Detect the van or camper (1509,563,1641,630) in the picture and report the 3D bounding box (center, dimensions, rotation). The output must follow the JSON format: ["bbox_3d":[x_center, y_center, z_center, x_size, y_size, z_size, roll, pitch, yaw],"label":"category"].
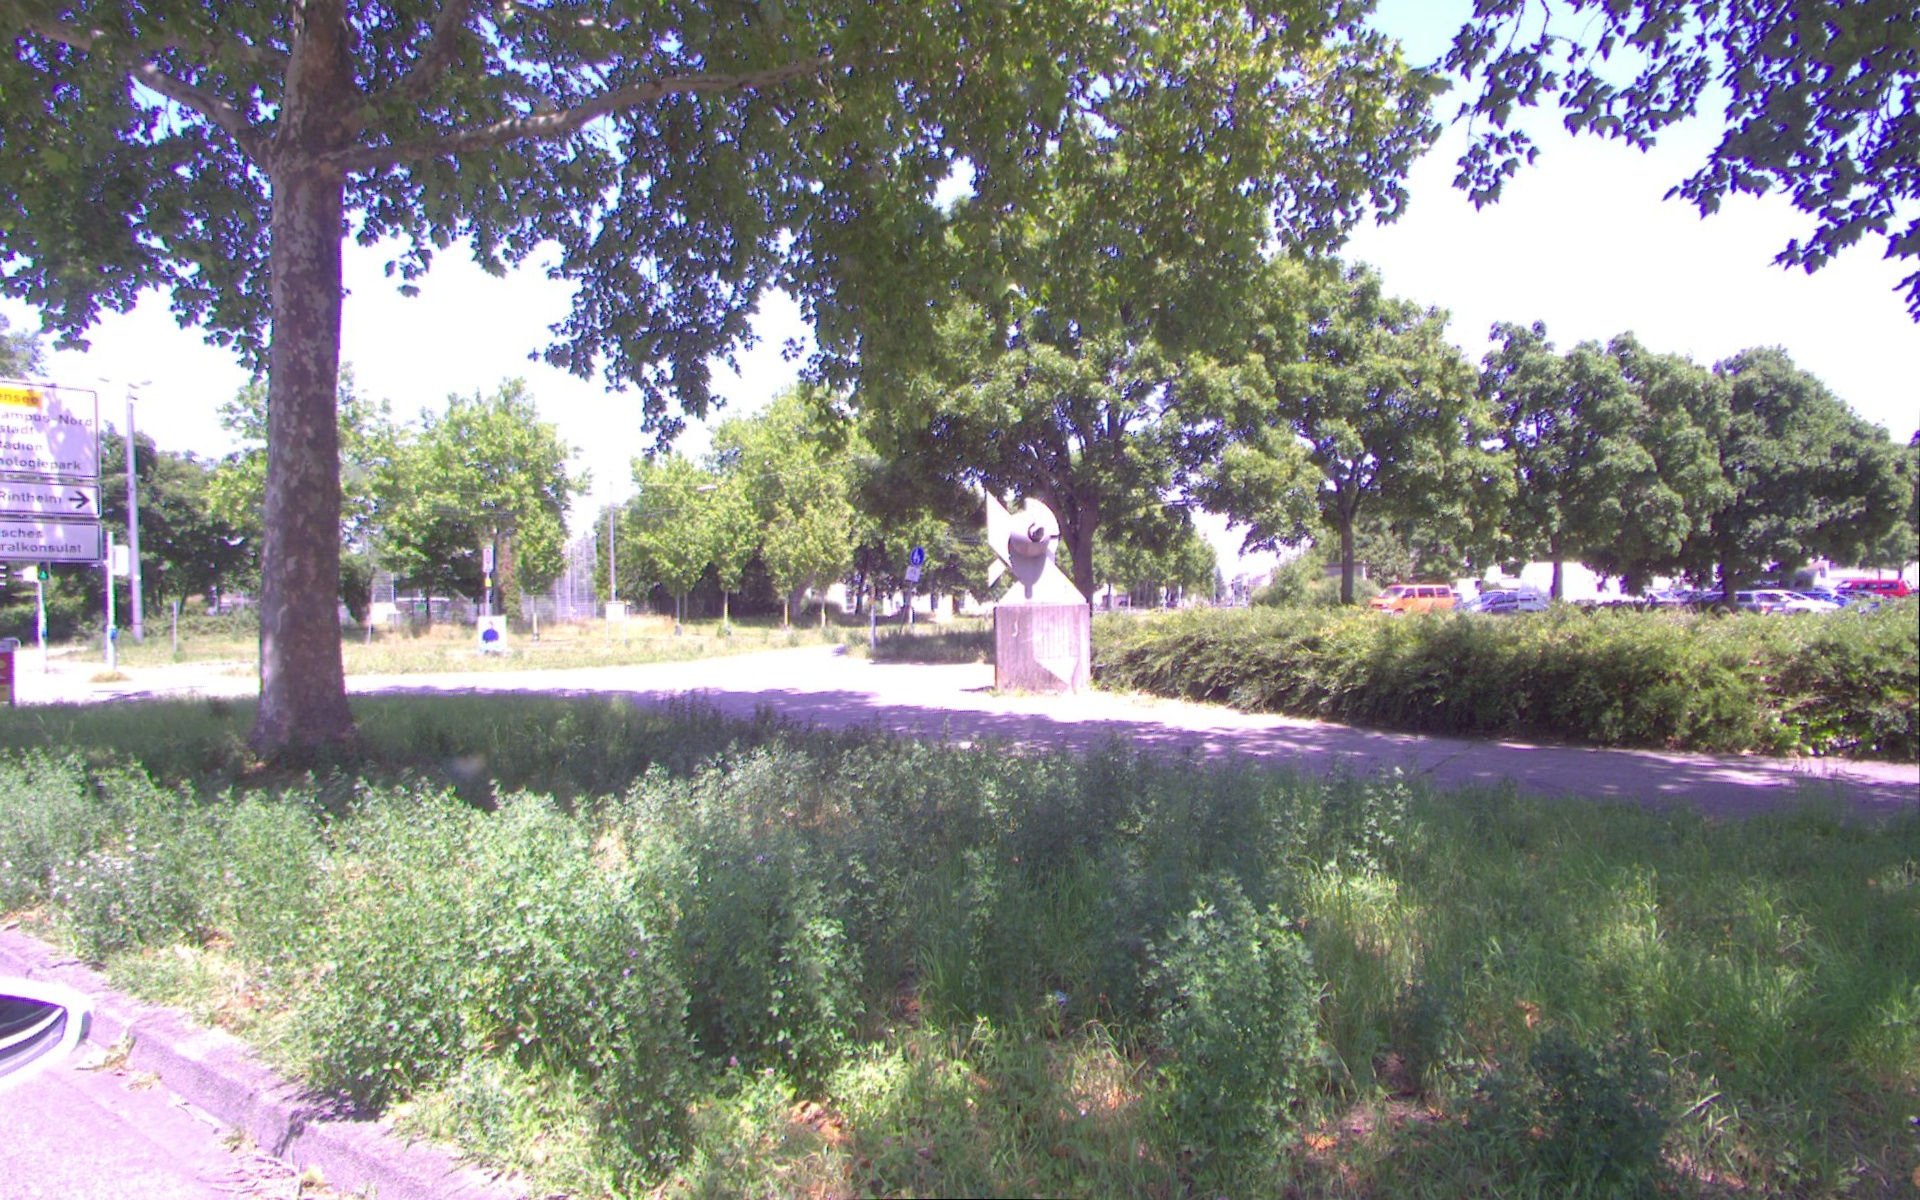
[{"bbox_3d":[27.010,-0.163,43.989,5.039,2.787,2.199,-1,0,-18],"label":"van or camper"}]

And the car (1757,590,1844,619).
[{"bbox_3d":[34.349,0.174,40.973,0.991,1.141,2.590,-1,0,-25],"label":"car"}]

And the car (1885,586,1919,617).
[{"bbox_3d":[44.443,0.058,45.306,1.690,1.384,3.414,-1,0,-25],"label":"car"}]

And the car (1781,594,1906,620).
[{"bbox_3d":[36.722,0.294,41.702,1.655,1.048,3.553,-1,0,-25],"label":"car"}]

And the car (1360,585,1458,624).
[{"bbox_3d":[23.849,0.226,53.230,4.582,2.029,2.069,0,0,-19],"label":"car"}]

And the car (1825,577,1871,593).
[{"bbox_3d":[92.714,-1.551,104.609,3.309,1.639,1.439,-1,0,18],"label":"car"}]

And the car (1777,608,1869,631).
[{"bbox_3d":[33.490,0.761,38.907,0.938,0.852,2.590,-1,0,-25],"label":"car"}]

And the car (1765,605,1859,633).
[{"bbox_3d":[32.464,0.710,38.200,0.938,1.000,2.590,-1,0,-25],"label":"car"}]

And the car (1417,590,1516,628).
[{"bbox_3d":[23.935,0.410,47.321,4.000,1.741,1.952,-1,0,-18],"label":"car"}]

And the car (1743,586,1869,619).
[{"bbox_3d":[34.390,0.084,40.796,1.595,1.242,3.559,0,1,-25],"label":"car"}]

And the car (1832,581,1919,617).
[{"bbox_3d":[57.229,-0.027,62.361,1.935,2.039,3.989,1,-3,-23],"label":"car"}]

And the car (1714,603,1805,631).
[{"bbox_3d":[30.742,0.646,38.549,0.938,1.050,2.590,-1,0,-25],"label":"car"}]

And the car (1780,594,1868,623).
[{"bbox_3d":[35.479,0.360,41.173,0.938,1.141,2.590,-1,0,-25],"label":"car"}]

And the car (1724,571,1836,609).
[{"bbox_3d":[46.415,-0.549,56.796,2.209,2.040,4.409,-1,0,-22],"label":"car"}]
